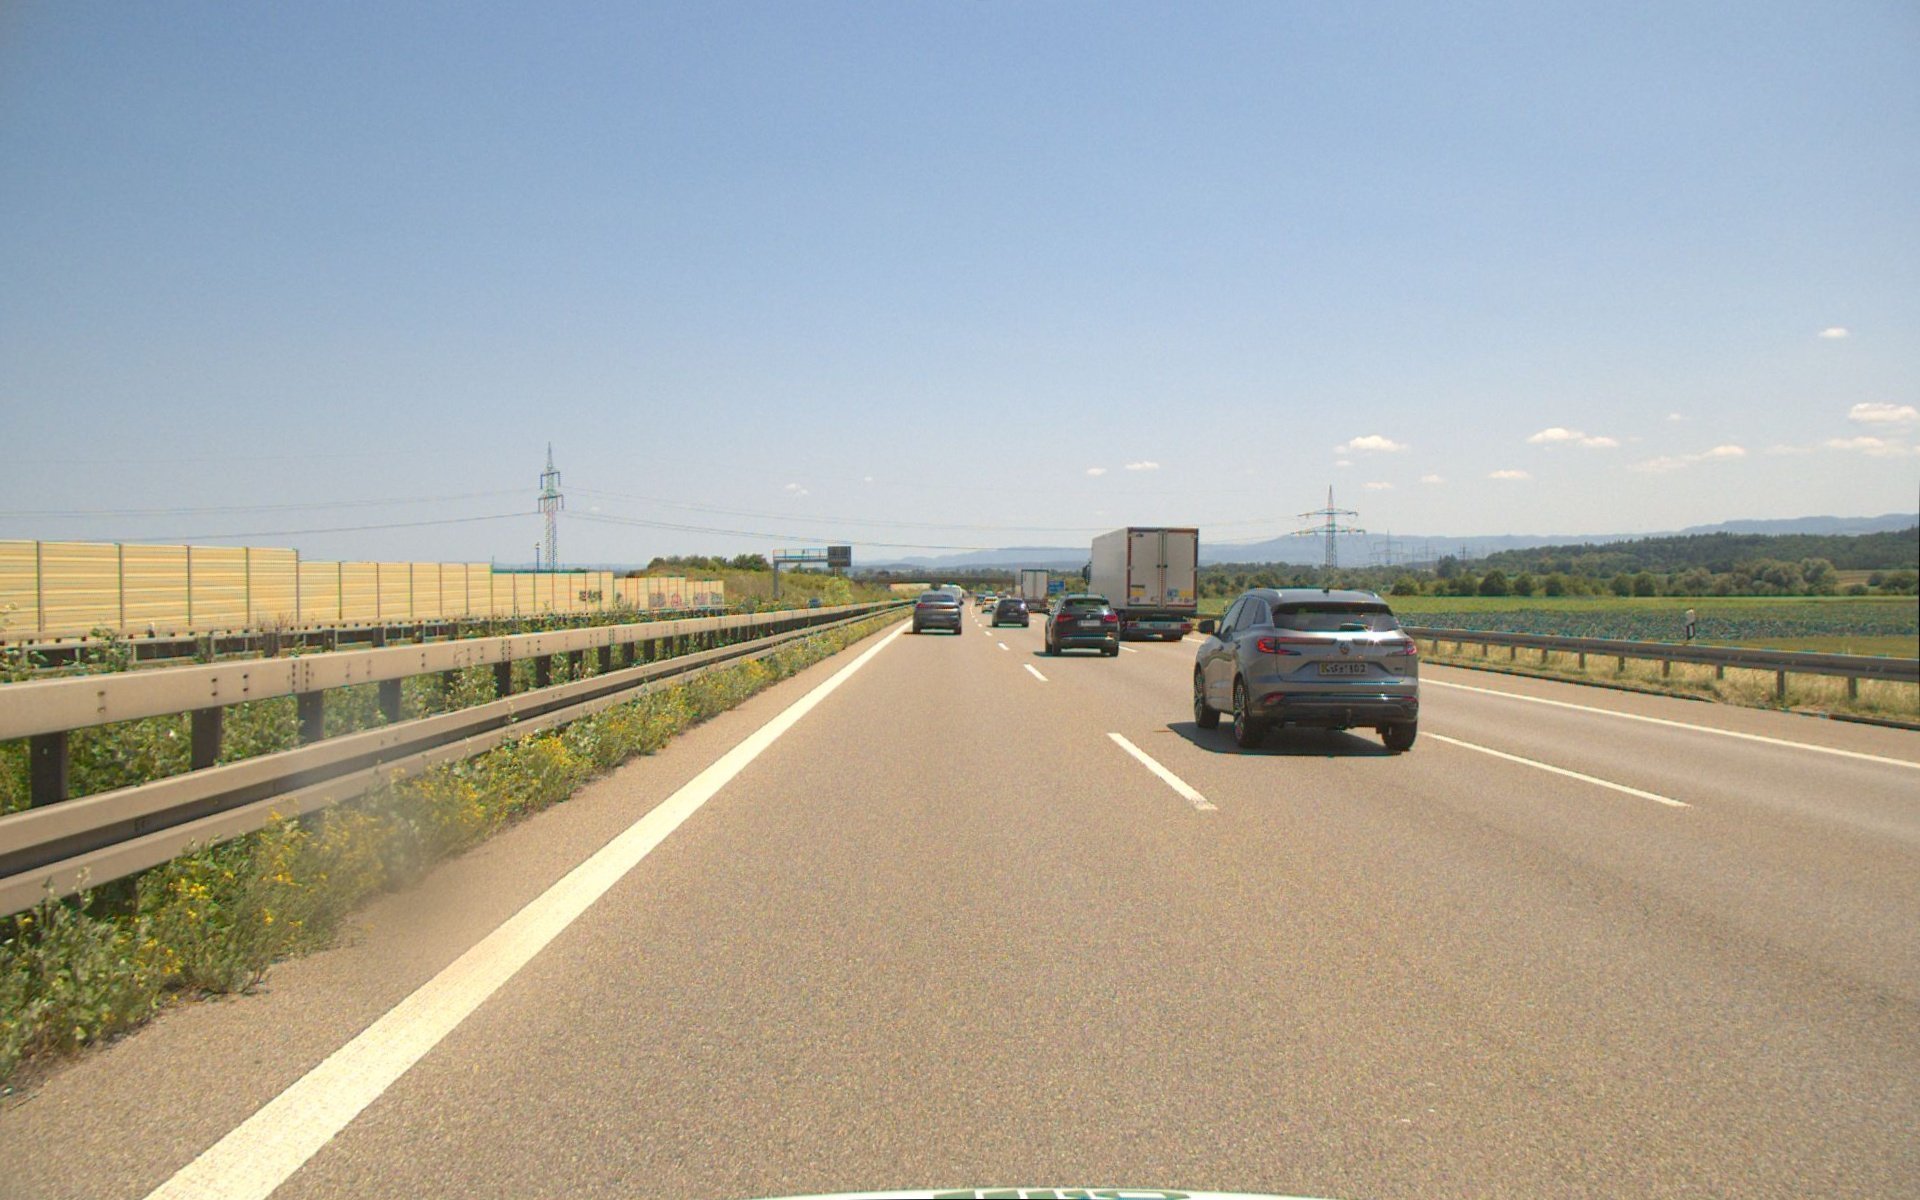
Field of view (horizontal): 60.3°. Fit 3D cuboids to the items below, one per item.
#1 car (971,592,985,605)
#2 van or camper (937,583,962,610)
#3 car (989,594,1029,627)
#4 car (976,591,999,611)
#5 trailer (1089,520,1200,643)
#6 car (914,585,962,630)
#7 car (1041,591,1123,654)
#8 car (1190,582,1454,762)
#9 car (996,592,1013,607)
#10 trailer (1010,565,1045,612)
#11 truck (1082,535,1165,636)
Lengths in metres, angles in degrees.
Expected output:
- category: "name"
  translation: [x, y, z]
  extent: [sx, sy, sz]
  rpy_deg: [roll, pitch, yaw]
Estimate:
- category: "car"
  translation: [2.534, -0.218, 231.239]
  extent: [1.952, 1.712, 4.000]
  rpy_deg: [1, 0, 1]
- category: "van or camper"
  translation: [-0.930, -0.272, 144.826]
  extent: [2.067, 2.250, 5.265]
  rpy_deg: [1, 0, 1]
- category: "car"
  translation: [2.488, 0.549, 84.504]
  extent: [1.893, 1.602, 4.934]
  rpy_deg: [1, 0, 0]
- category: "car"
  translation: [2.460, 0.108, 147.330]
  extent: [1.952, 1.712, 4.000]
  rpy_deg: [1, 0, 1]
- category: "trailer"
  translation: [7.057, -0.623, 65.152]
  extent: [2.809, 4.294, 13.293]
  rpy_deg: [1, 0, 0]
- category: "car"
  translation: [-0.908, 0.302, 66.268]
  extent: [1.814, 1.693, 3.733]
  rpy_deg: [1, 0, -2]
- category: "car"
  translation: [3.224, 0.574, 44.392]
  extent: [1.761, 1.589, 3.821]
  rpy_deg: [1, 0, -2]
- category: "car"
  translation: [3.739, 0.665, 17.939]
  extent: [1.813, 1.677, 4.644]
  rpy_deg: [1, 0, 0]
- category: "car"
  translation: [5.224, -0.078, 194.926]
  extent: [1.952, 1.712, 4.000]
  rpy_deg: [1, 0, 1]
- category: "trailer"
  translation: [6.430, -1.065, 159.804]
  extent: [2.882, 4.271, 13.597]
  rpy_deg: [1, 0, 1]
- category: "truck"
  translation: [7.076, -0.603, 72.475]
  extent: [2.804, 4.163, 6.878]
  rpy_deg: [1, 0, -1]
